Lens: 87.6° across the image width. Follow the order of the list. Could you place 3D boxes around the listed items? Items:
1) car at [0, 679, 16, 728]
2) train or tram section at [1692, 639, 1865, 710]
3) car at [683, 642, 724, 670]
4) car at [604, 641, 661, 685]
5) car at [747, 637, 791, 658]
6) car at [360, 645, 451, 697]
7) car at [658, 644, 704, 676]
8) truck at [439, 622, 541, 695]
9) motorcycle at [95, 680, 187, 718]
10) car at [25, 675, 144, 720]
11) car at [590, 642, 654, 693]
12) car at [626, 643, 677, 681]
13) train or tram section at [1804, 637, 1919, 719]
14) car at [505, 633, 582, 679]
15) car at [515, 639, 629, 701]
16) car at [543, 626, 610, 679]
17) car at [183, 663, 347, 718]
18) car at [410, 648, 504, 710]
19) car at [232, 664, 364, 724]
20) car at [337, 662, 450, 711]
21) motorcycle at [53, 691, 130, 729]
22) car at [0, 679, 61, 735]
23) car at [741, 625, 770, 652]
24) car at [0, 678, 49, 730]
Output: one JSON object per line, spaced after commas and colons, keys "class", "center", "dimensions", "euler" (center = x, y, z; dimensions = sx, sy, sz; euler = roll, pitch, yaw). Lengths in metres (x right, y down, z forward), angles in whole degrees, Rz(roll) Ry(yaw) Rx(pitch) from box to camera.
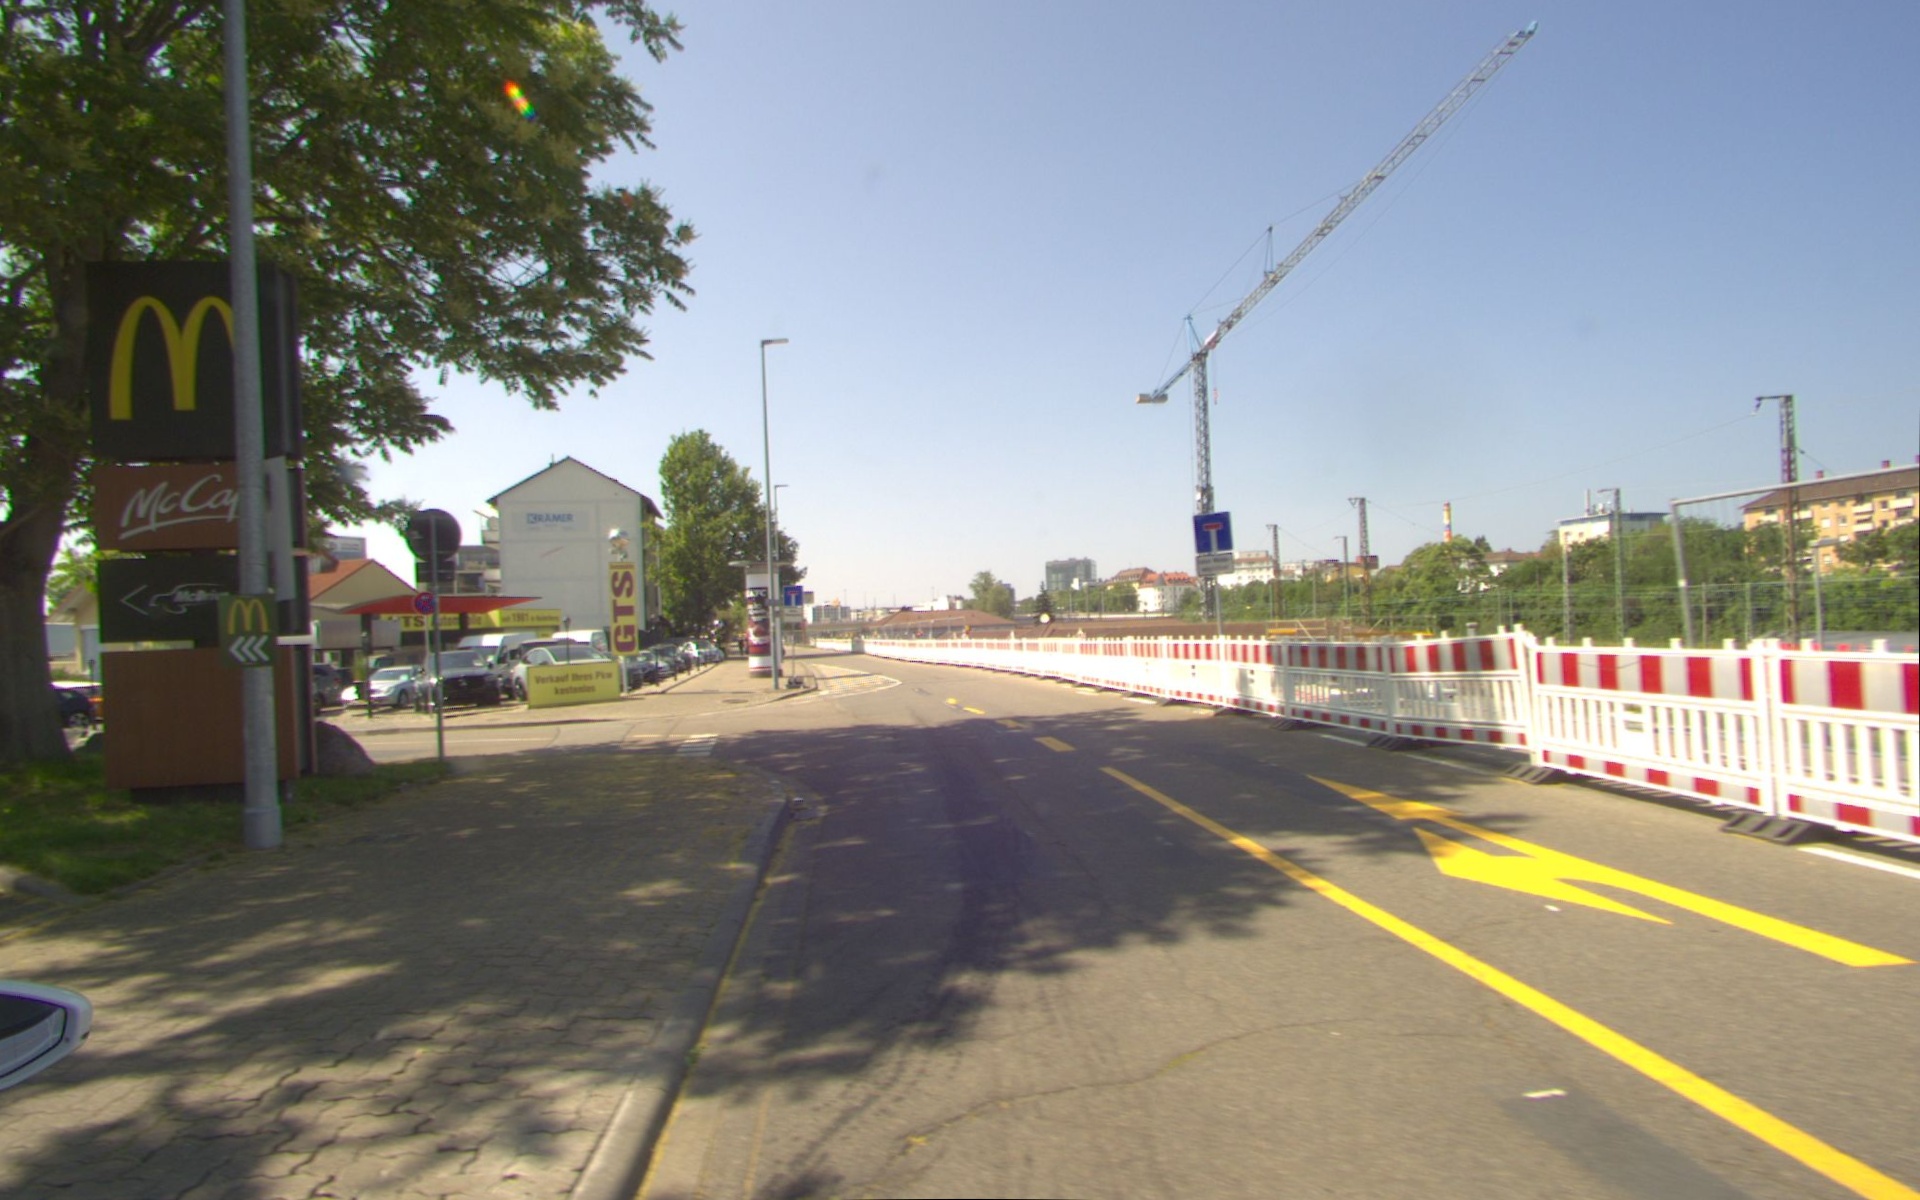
{"class": "car", "center": [-36.418, 3.758, 35.032], "dimensions": [1.963, 1.746, 4.654], "euler": [-3, -3, 12]}
{"class": "train or tram section", "center": [46.397, 4.122, 57.235], "dimensions": [2.965, 3.750, 8.978], "euler": [0, -3, 4]}
{"class": "car", "center": [-16.363, 3.580, 63.757], "dimensions": [1.832, 1.649, 3.989], "euler": [-1, -2, -24]}
{"class": "car", "center": [-13.659, 2.584, 41.609], "dimensions": [1.832, 1.649, 3.989], "euler": [-1, -2, -24]}
{"class": "car", "center": [-16.197, 4.028, 85.029], "dimensions": [1.706, 1.658, 3.257], "euler": [-4, -3, 39]}
{"class": "car", "center": [-23.571, 2.994, 42.757], "dimensions": [1.962, 2.038, 4.497], "euler": [-1, -3, -9]}
{"class": "car", "center": [-15.529, 3.331, 55.611], "dimensions": [1.832, 1.649, 3.989], "euler": [-1, -2, -24]}
{"class": "truck", "center": [-20.456, 2.513, 43.880], "dimensions": [2.232, 2.940, 5.945], "euler": [-1, -2, -7]}
{"class": "motorcycle", "center": [-31.112, 3.742, 38.112], "dimensions": [0.980, 1.242, 2.718], "euler": [-2, -3, 12]}
{"class": "car", "center": [-34.655, 3.862, 39.644], "dimensions": [3.933, 1.604, 1.996], "euler": [-3, -3, 22]}
{"class": "car", "center": [-12.218, 2.381, 36.055], "dimensions": [1.832, 1.649, 3.989], "euler": [-1, -2, -24]}
{"class": "car", "center": [-14.554, 2.884, 47.134], "dimensions": [1.832, 1.649, 3.989], "euler": [-1, -2, -24]}
{"class": "train or tram section", "center": [45.741, 3.679, 48.281], "dimensions": [2.965, 3.750, 8.978], "euler": [0, -3, 4]}
{"class": "car", "center": [-17.277, 2.305, 41.790], "dimensions": [1.847, 1.760, 4.723], "euler": [-1, -2, -8]}
{"class": "car", "center": [-12.133, 2.172, 31.199], "dimensions": [1.980, 1.747, 3.964], "euler": [0, -3, -43]}
{"class": "car", "center": [-18.222, 2.459, 47.757], "dimensions": [2.102, 2.313, 4.710], "euler": [-2, -2, -11]}
{"class": "car", "center": [-23.678, 3.035, 34.226], "dimensions": [1.979, 1.604, 4.298], "euler": [-4, -3, 43]}
{"class": "car", "center": [-14.694, 2.265, 29.140], "dimensions": [2.025, 1.614, 4.401], "euler": [0, -3, -32]}
{"class": "car", "center": [-19.163, 2.677, 29.202], "dimensions": [1.760, 1.528, 4.000], "euler": [-1, -3, -10]}
{"class": "car", "center": [-19.722, 2.994, 35.062], "dimensions": [1.759, 1.505, 4.003], "euler": [-2, -3, -1]}
{"class": "motorcycle", "center": [-30.096, 3.792, 34.726], "dimensions": [0.778, 1.173, 1.866], "euler": [-3, -3, 31]}
{"class": "car", "center": [-31.812, 3.511, 32.125], "dimensions": [1.965, 1.727, 3.994], "euler": [-3, -3, 19]}
{"class": "car", "center": [-20.069, 3.817, 98.538], "dimensions": [2.498, 2.551, 5.119], "euler": [-1, -3, -9]}
{"class": "car", "center": [-34.234, 3.654, 34.366], "dimensions": [1.963, 1.746, 4.000], "euler": [-3, -3, 12]}
